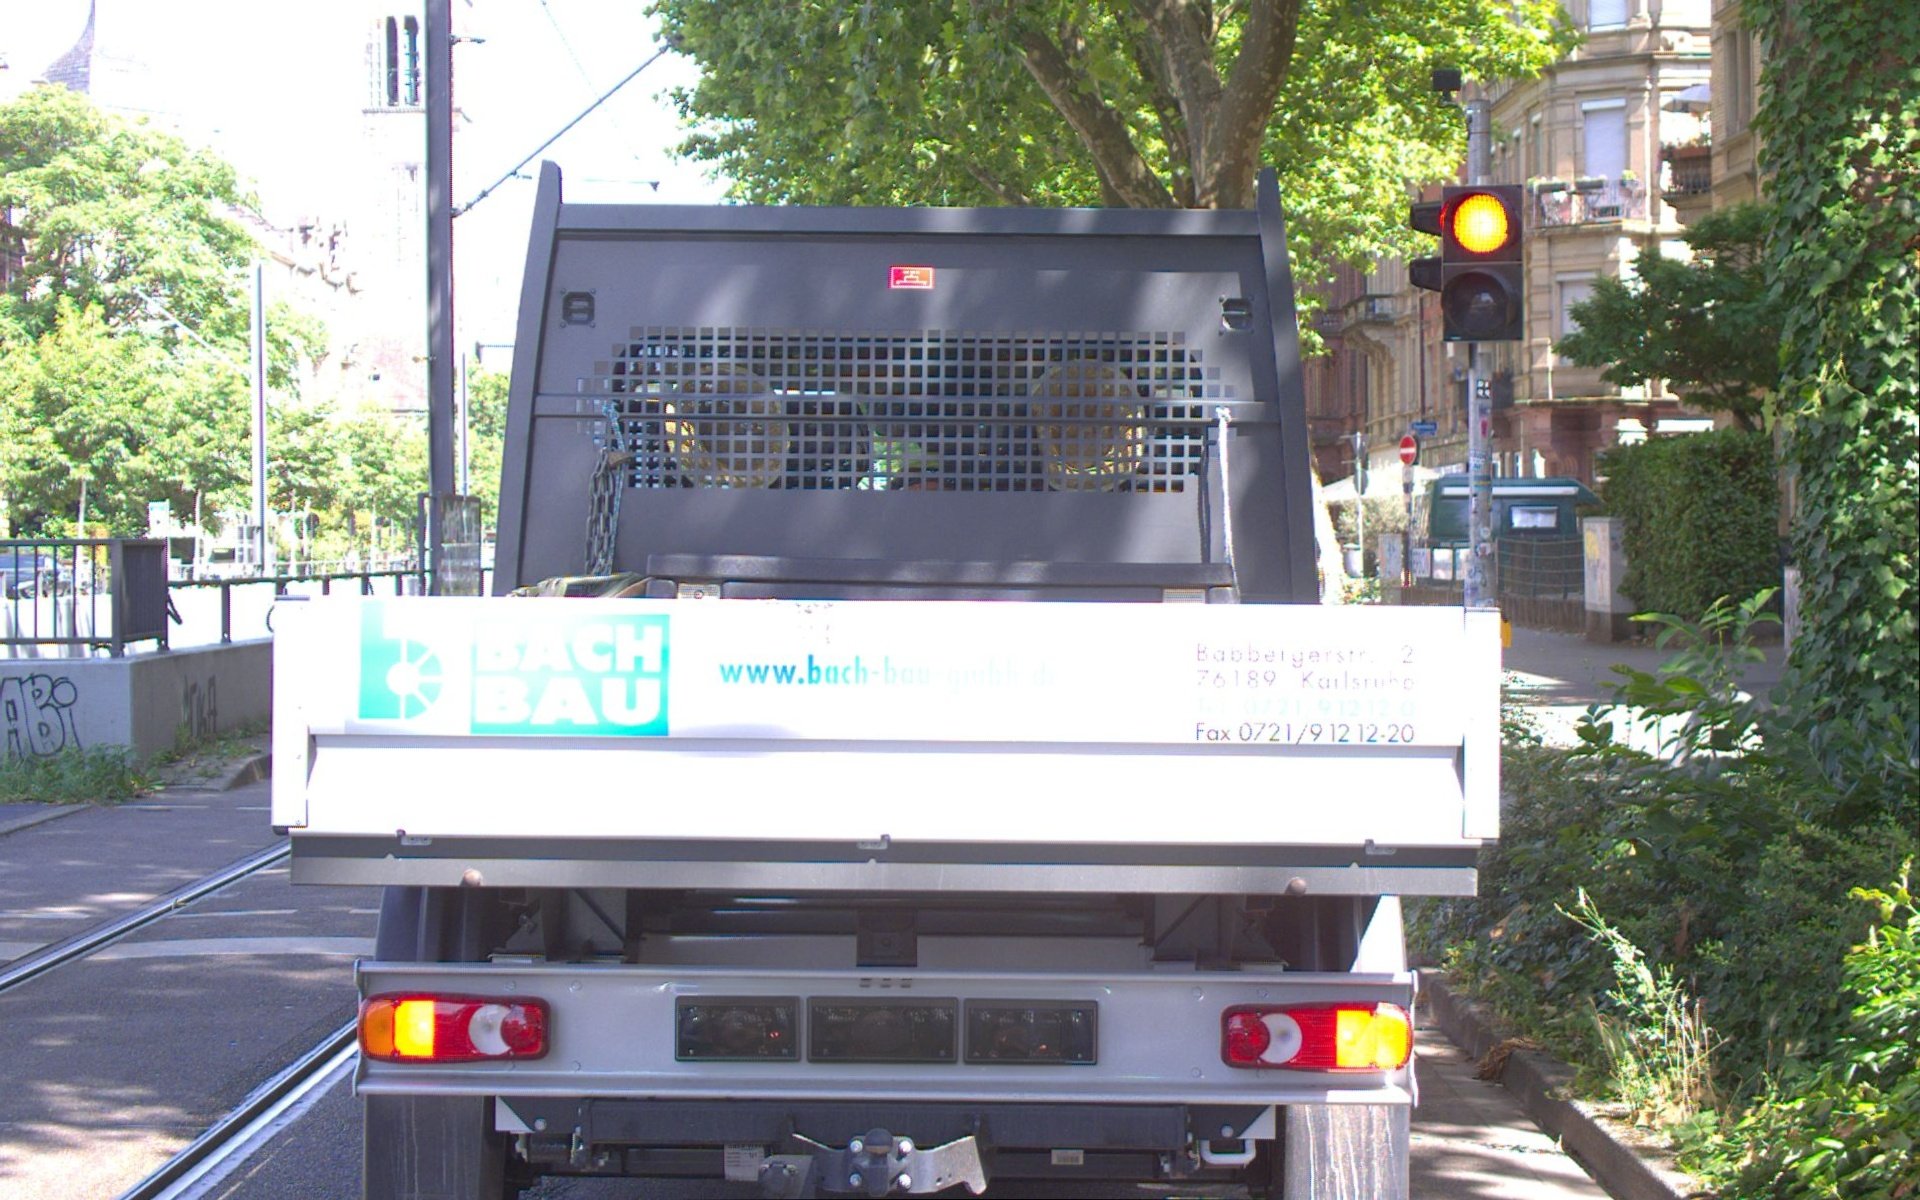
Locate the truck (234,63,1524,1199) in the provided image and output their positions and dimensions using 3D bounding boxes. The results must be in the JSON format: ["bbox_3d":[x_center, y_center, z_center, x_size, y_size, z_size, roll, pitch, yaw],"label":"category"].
[{"bbox_3d":[-0.128,0.230,7.922,2.138,2.311,4.402,0,1,0],"label":"truck"}]

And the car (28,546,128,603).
[{"bbox_3d":[-23.702,-0.711,92.484,1.770,1.493,4.000,0,1,-2],"label":"car"}]

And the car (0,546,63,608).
[{"bbox_3d":[-23.439,-0.580,84.648,1.770,1.493,4.000,0,1,-2],"label":"car"}]
